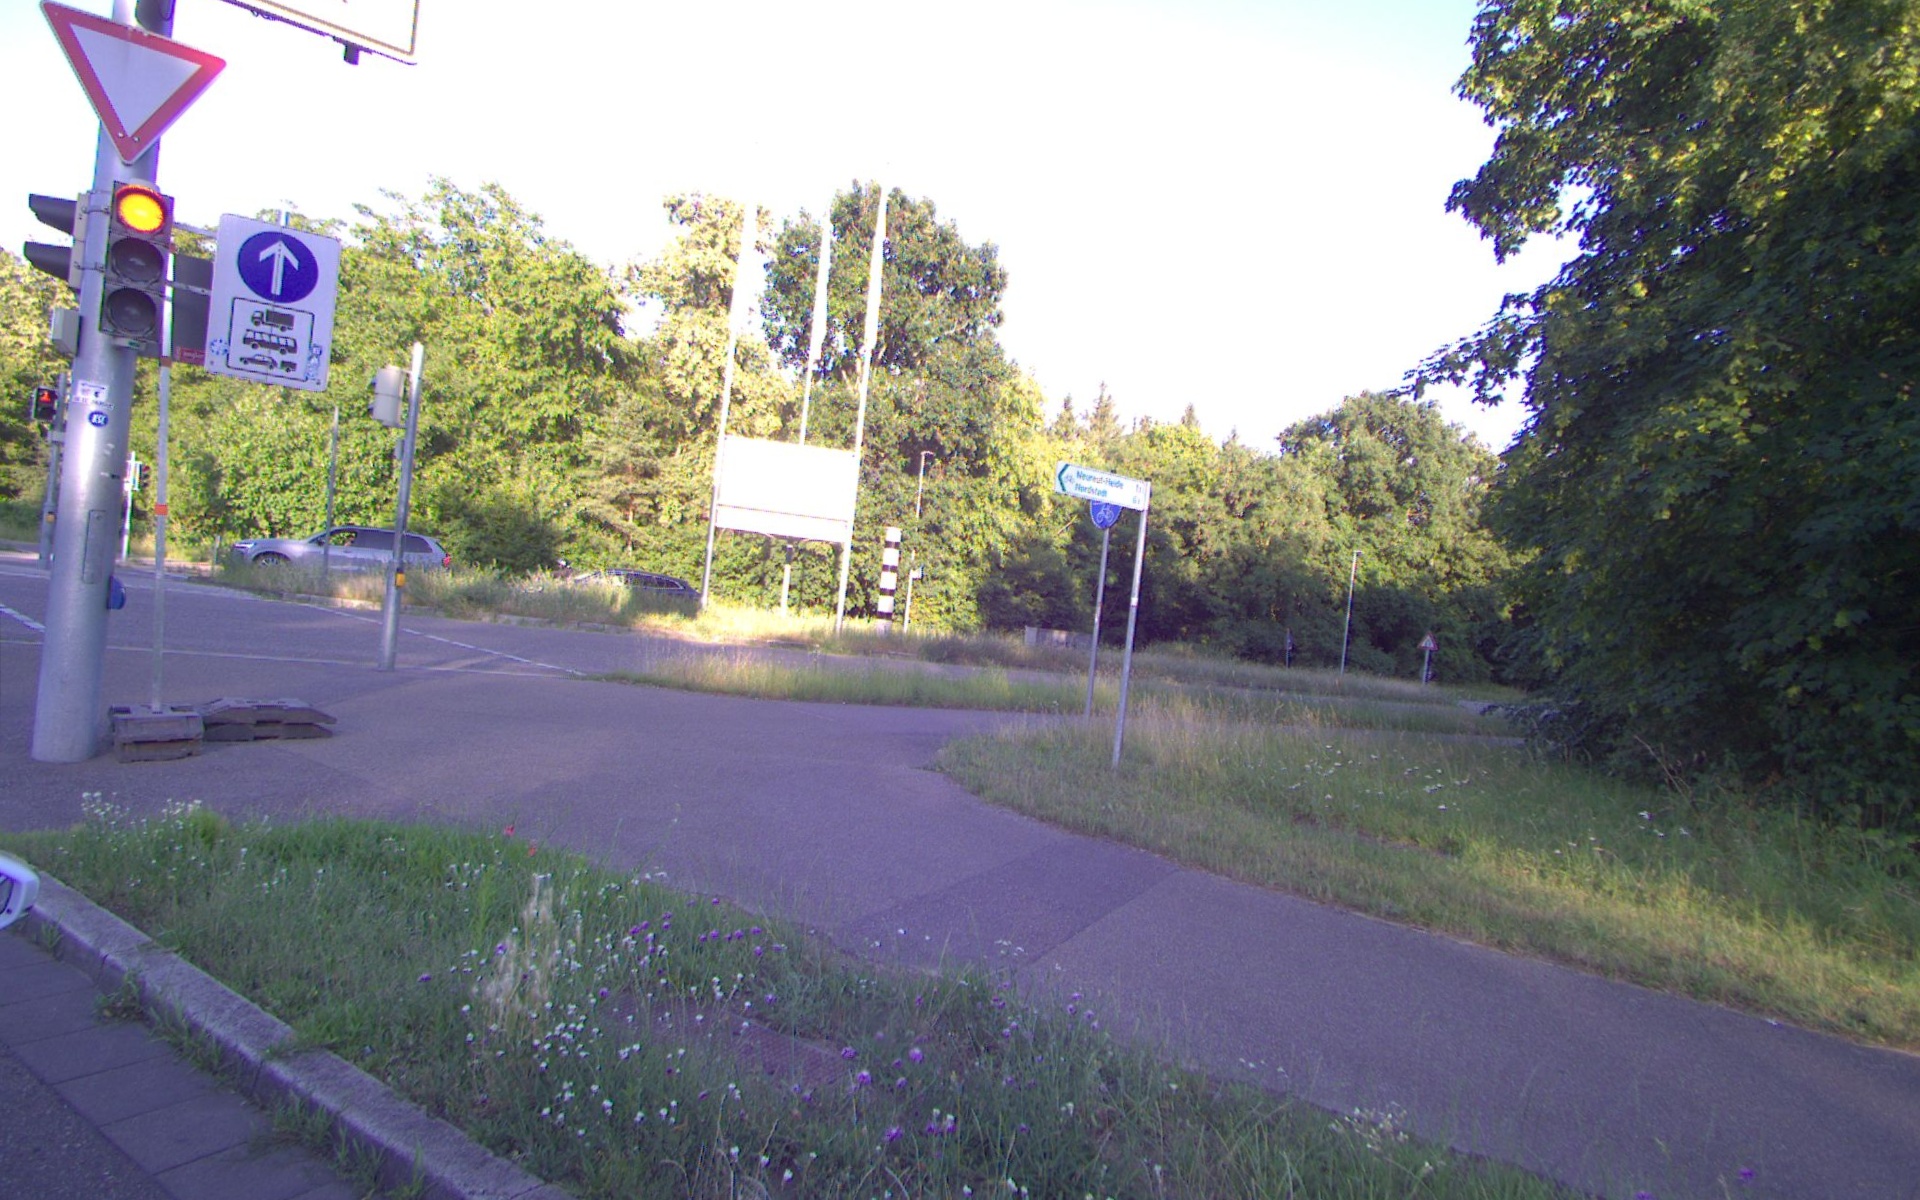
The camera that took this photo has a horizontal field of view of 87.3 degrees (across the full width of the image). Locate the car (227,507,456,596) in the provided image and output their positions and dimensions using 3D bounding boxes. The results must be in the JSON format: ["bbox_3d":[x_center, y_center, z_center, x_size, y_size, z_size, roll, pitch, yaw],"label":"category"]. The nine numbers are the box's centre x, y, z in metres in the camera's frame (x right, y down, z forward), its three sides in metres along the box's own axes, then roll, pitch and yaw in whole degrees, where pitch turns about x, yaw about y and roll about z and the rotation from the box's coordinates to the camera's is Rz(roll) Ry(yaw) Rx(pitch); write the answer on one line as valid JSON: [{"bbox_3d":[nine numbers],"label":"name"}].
[{"bbox_3d":[-15.913,-1.206,25.996,4.790,1.618,1.980,7,0,-37],"label":"car"}]

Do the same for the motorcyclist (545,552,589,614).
[{"bbox_3d":[-11.066,-0.483,28.313,0.881,1.614,0.648,6,0,-37],"label":"motorcyclist"}]

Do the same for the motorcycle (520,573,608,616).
[{"bbox_3d":[-11.125,-0.145,28.308,2.133,0.921,0.655,7,0,-37],"label":"motorcycle"}]

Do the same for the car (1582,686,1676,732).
[{"bbox_3d":[29.592,4.824,44.449,4.639,1.548,1.980,8,-1,-37],"label":"car"}]

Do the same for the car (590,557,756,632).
[{"bbox_3d":[-7.676,-0.126,27.024,3.840,1.507,1.754,7,-1,-36],"label":"car"}]
